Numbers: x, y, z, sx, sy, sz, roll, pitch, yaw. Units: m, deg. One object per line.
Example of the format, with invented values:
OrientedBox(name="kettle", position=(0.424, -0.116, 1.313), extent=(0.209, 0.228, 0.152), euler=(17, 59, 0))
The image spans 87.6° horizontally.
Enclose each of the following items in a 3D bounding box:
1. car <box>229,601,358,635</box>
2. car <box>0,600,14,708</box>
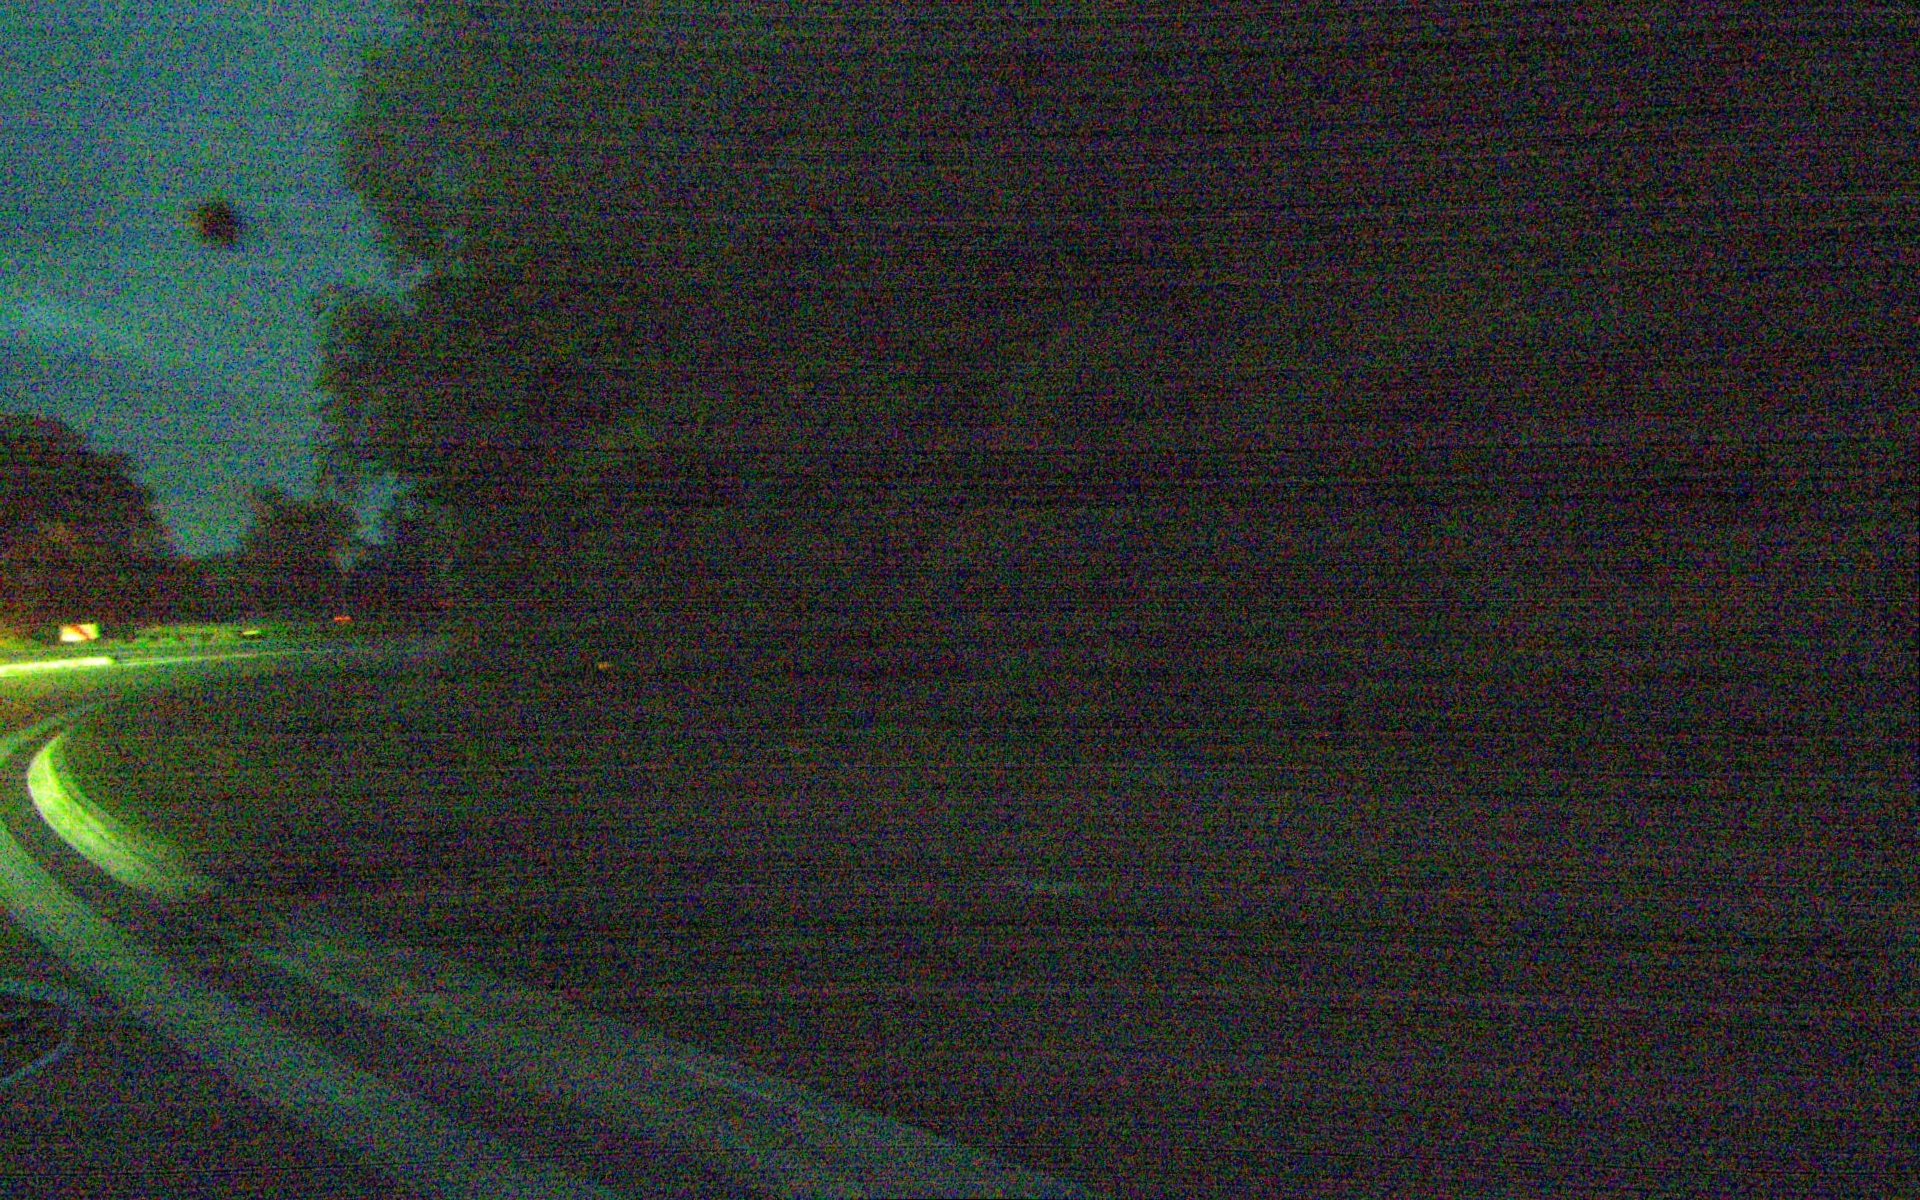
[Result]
OrientedBox(name="car", position=(-31.209, 0.817, 47.075), extent=(1.963, 1.472, 5.042), euler=(-1, -1, 14))
OrientedBox(name="car", position=(-14.580, 0.772, 13.510), extent=(1.883, 1.640, 4.527), euler=(2, -2, -34))
